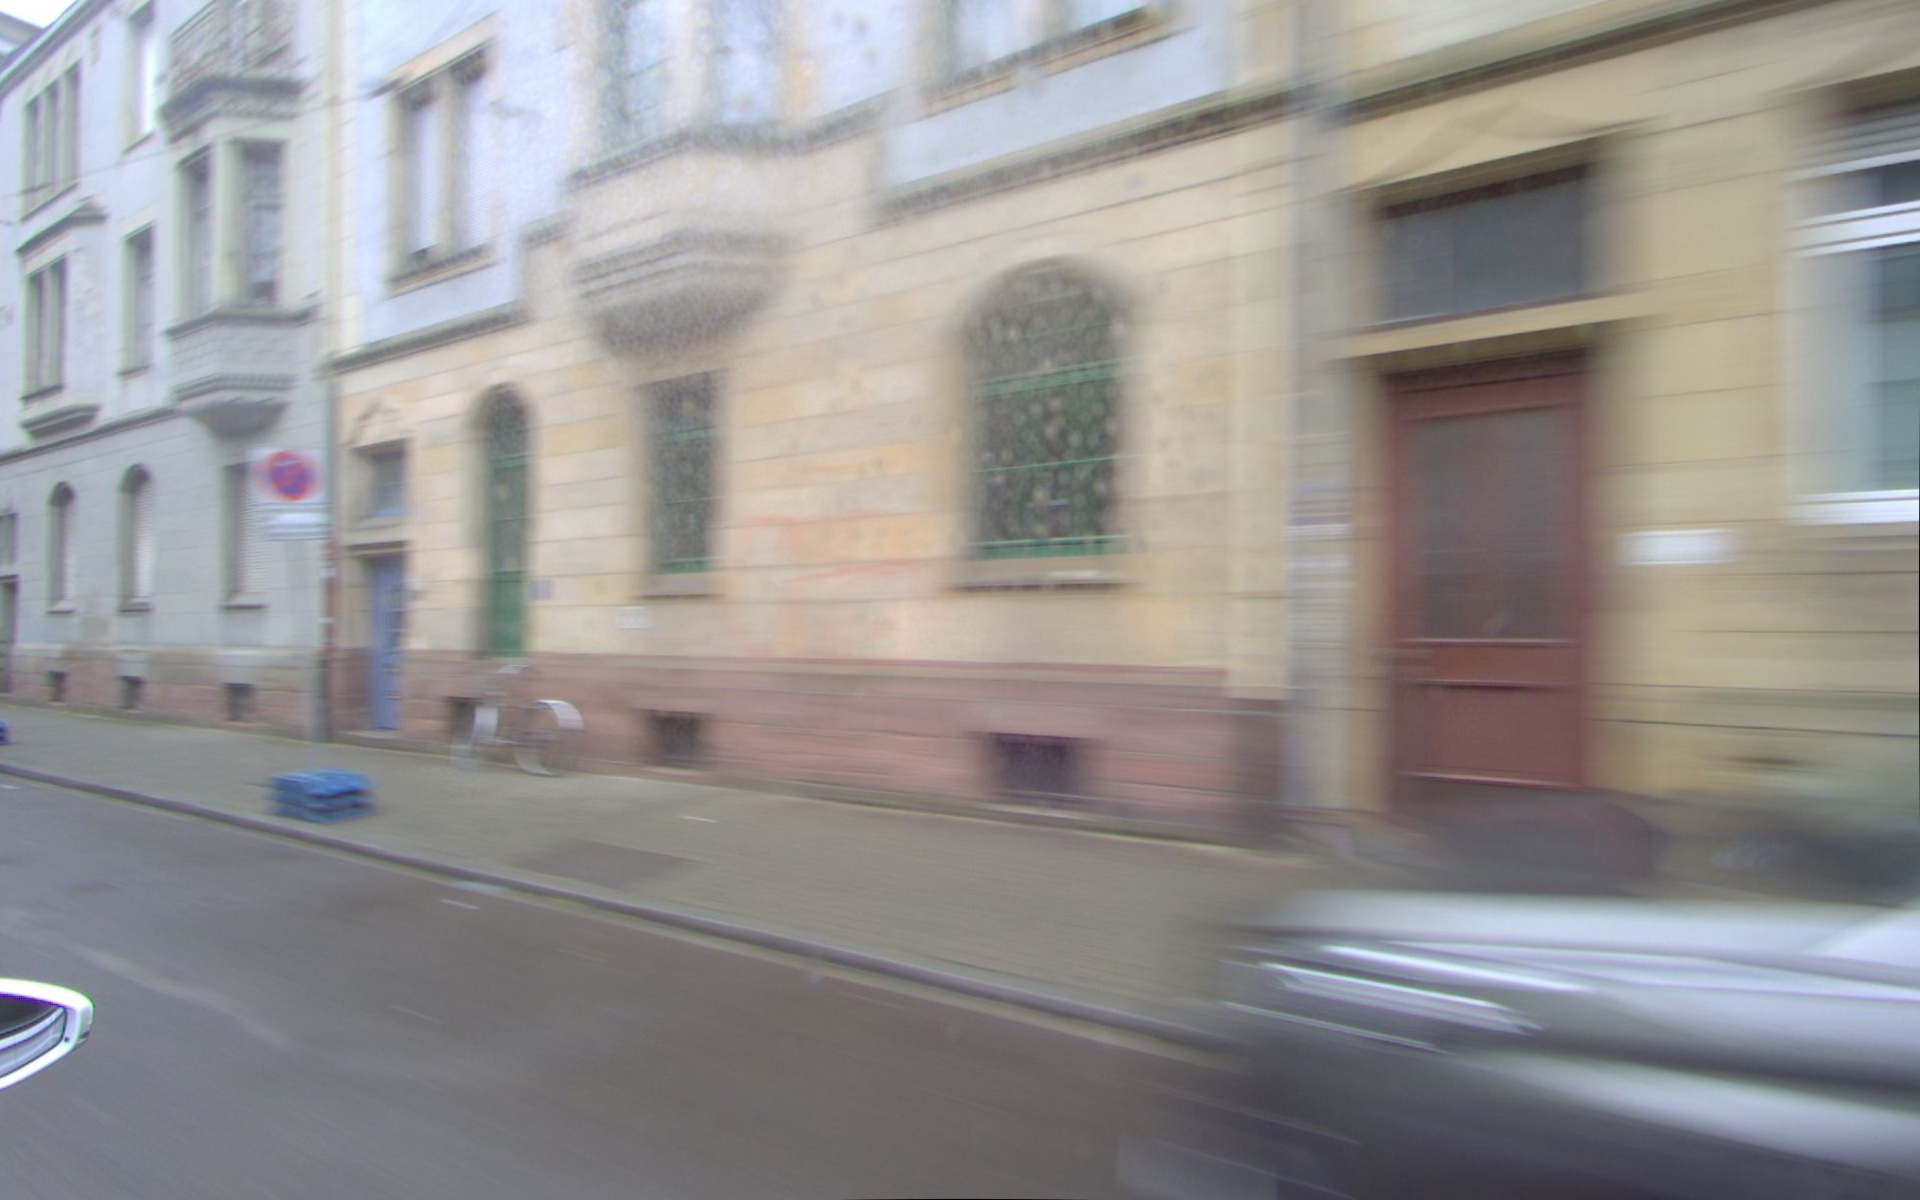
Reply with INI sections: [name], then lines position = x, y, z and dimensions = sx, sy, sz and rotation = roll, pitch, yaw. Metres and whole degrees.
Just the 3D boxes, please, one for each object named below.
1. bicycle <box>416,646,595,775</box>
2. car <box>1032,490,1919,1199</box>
[bicycle]
position = -4.481, 1.049, 9.828
dimensions = 1.889, 1.140, 0.610
rotation = -1, -4, 32
[car]
position = 2.549, 0.718, 1.316
dimensions = 4.626, 1.643, 1.757
rotation = 0, -2, 31
